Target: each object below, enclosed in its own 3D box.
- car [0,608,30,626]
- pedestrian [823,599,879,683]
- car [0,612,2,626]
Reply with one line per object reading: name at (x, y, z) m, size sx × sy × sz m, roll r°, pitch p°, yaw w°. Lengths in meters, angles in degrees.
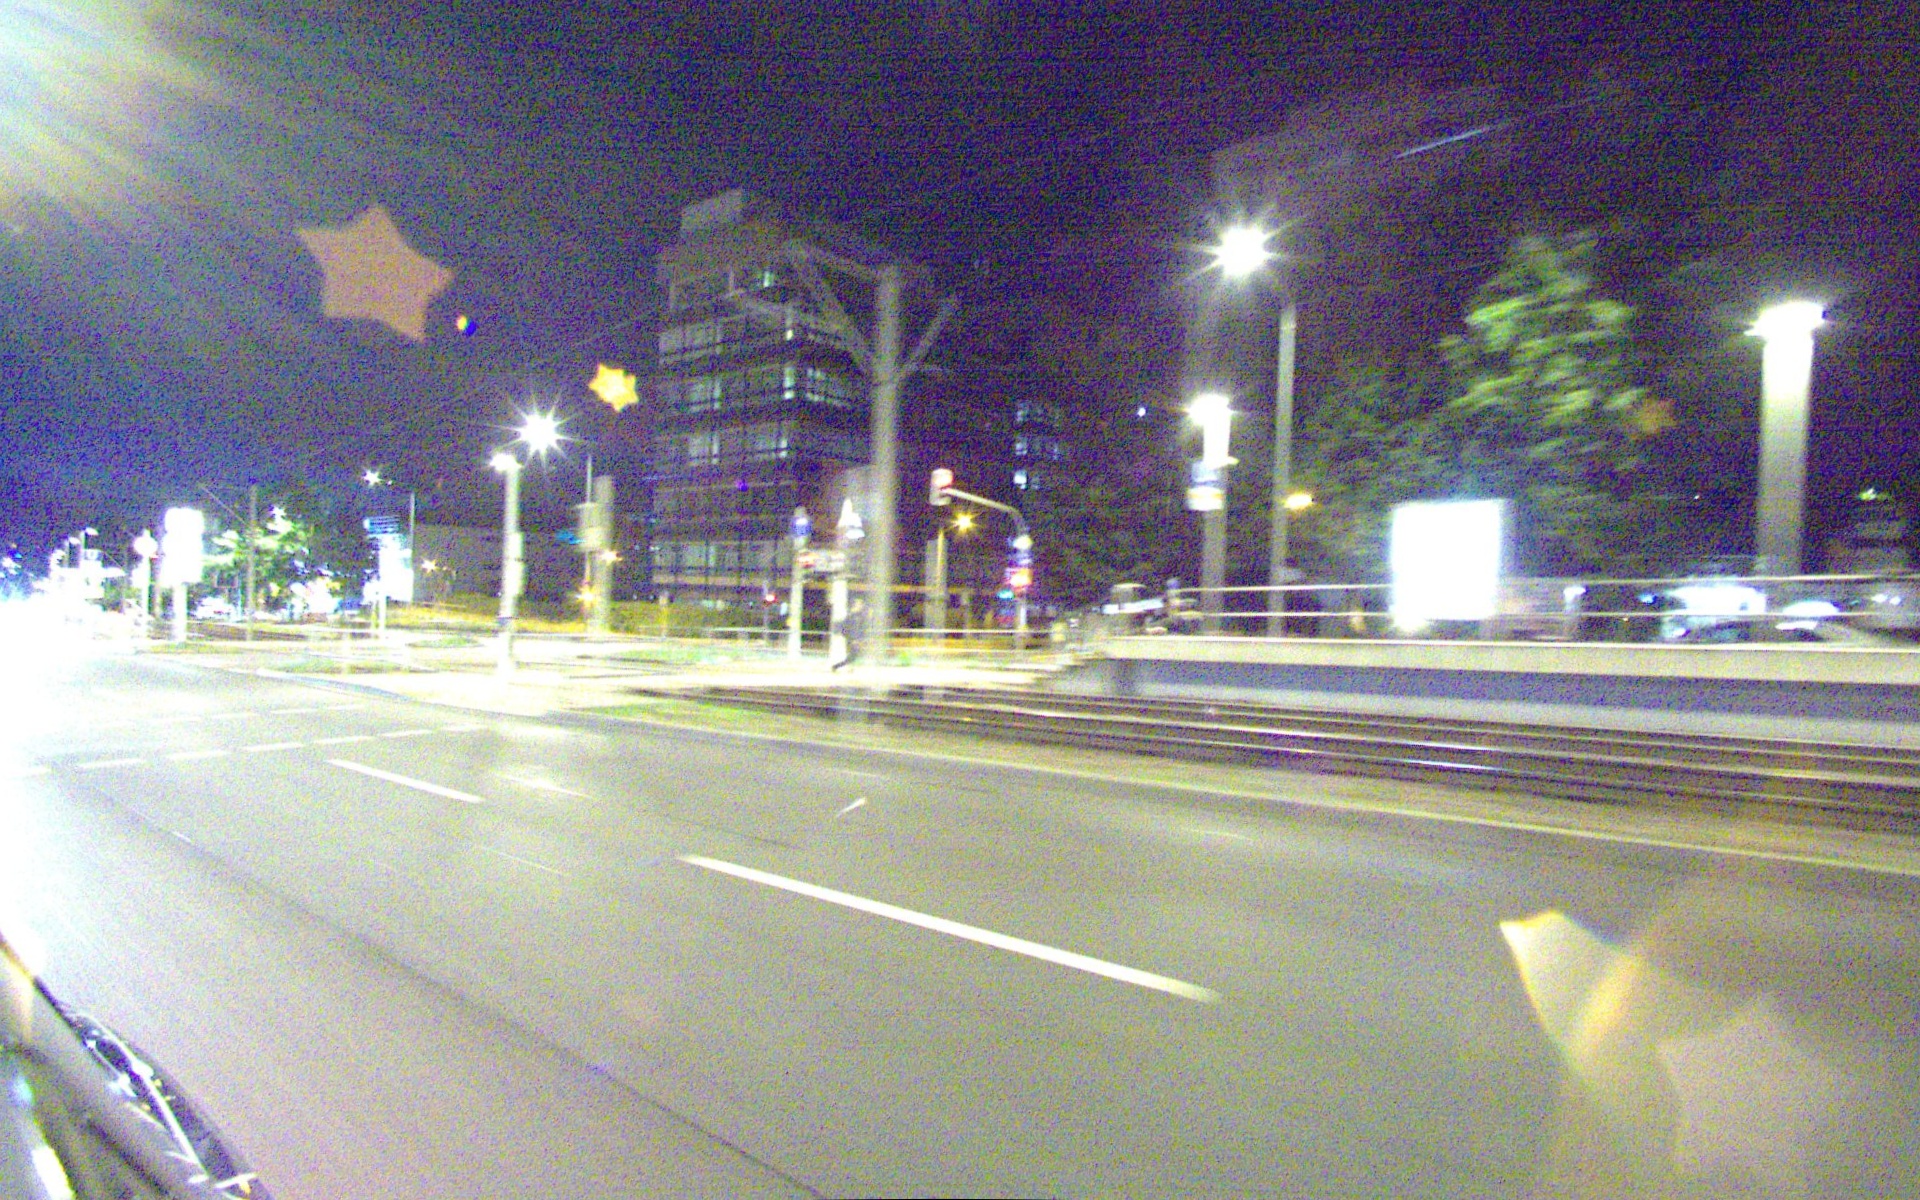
car at (-87.597, 1.546, 93.705) m, size 3.719 × 1.630 × 1.882 m, roll 0°, pitch -1°, yaw 43°
pedestrian at (-2.298, 0.859, 21.242) m, size 1.038 × 1.701 × 0.823 m, roll 1°, pitch -2°, yaw -13°
car at (-115.465, 2.281, 120.627) m, size 1.802 × 1.719 × 4.003 m, roll 0°, pitch -1°, yaw -44°
